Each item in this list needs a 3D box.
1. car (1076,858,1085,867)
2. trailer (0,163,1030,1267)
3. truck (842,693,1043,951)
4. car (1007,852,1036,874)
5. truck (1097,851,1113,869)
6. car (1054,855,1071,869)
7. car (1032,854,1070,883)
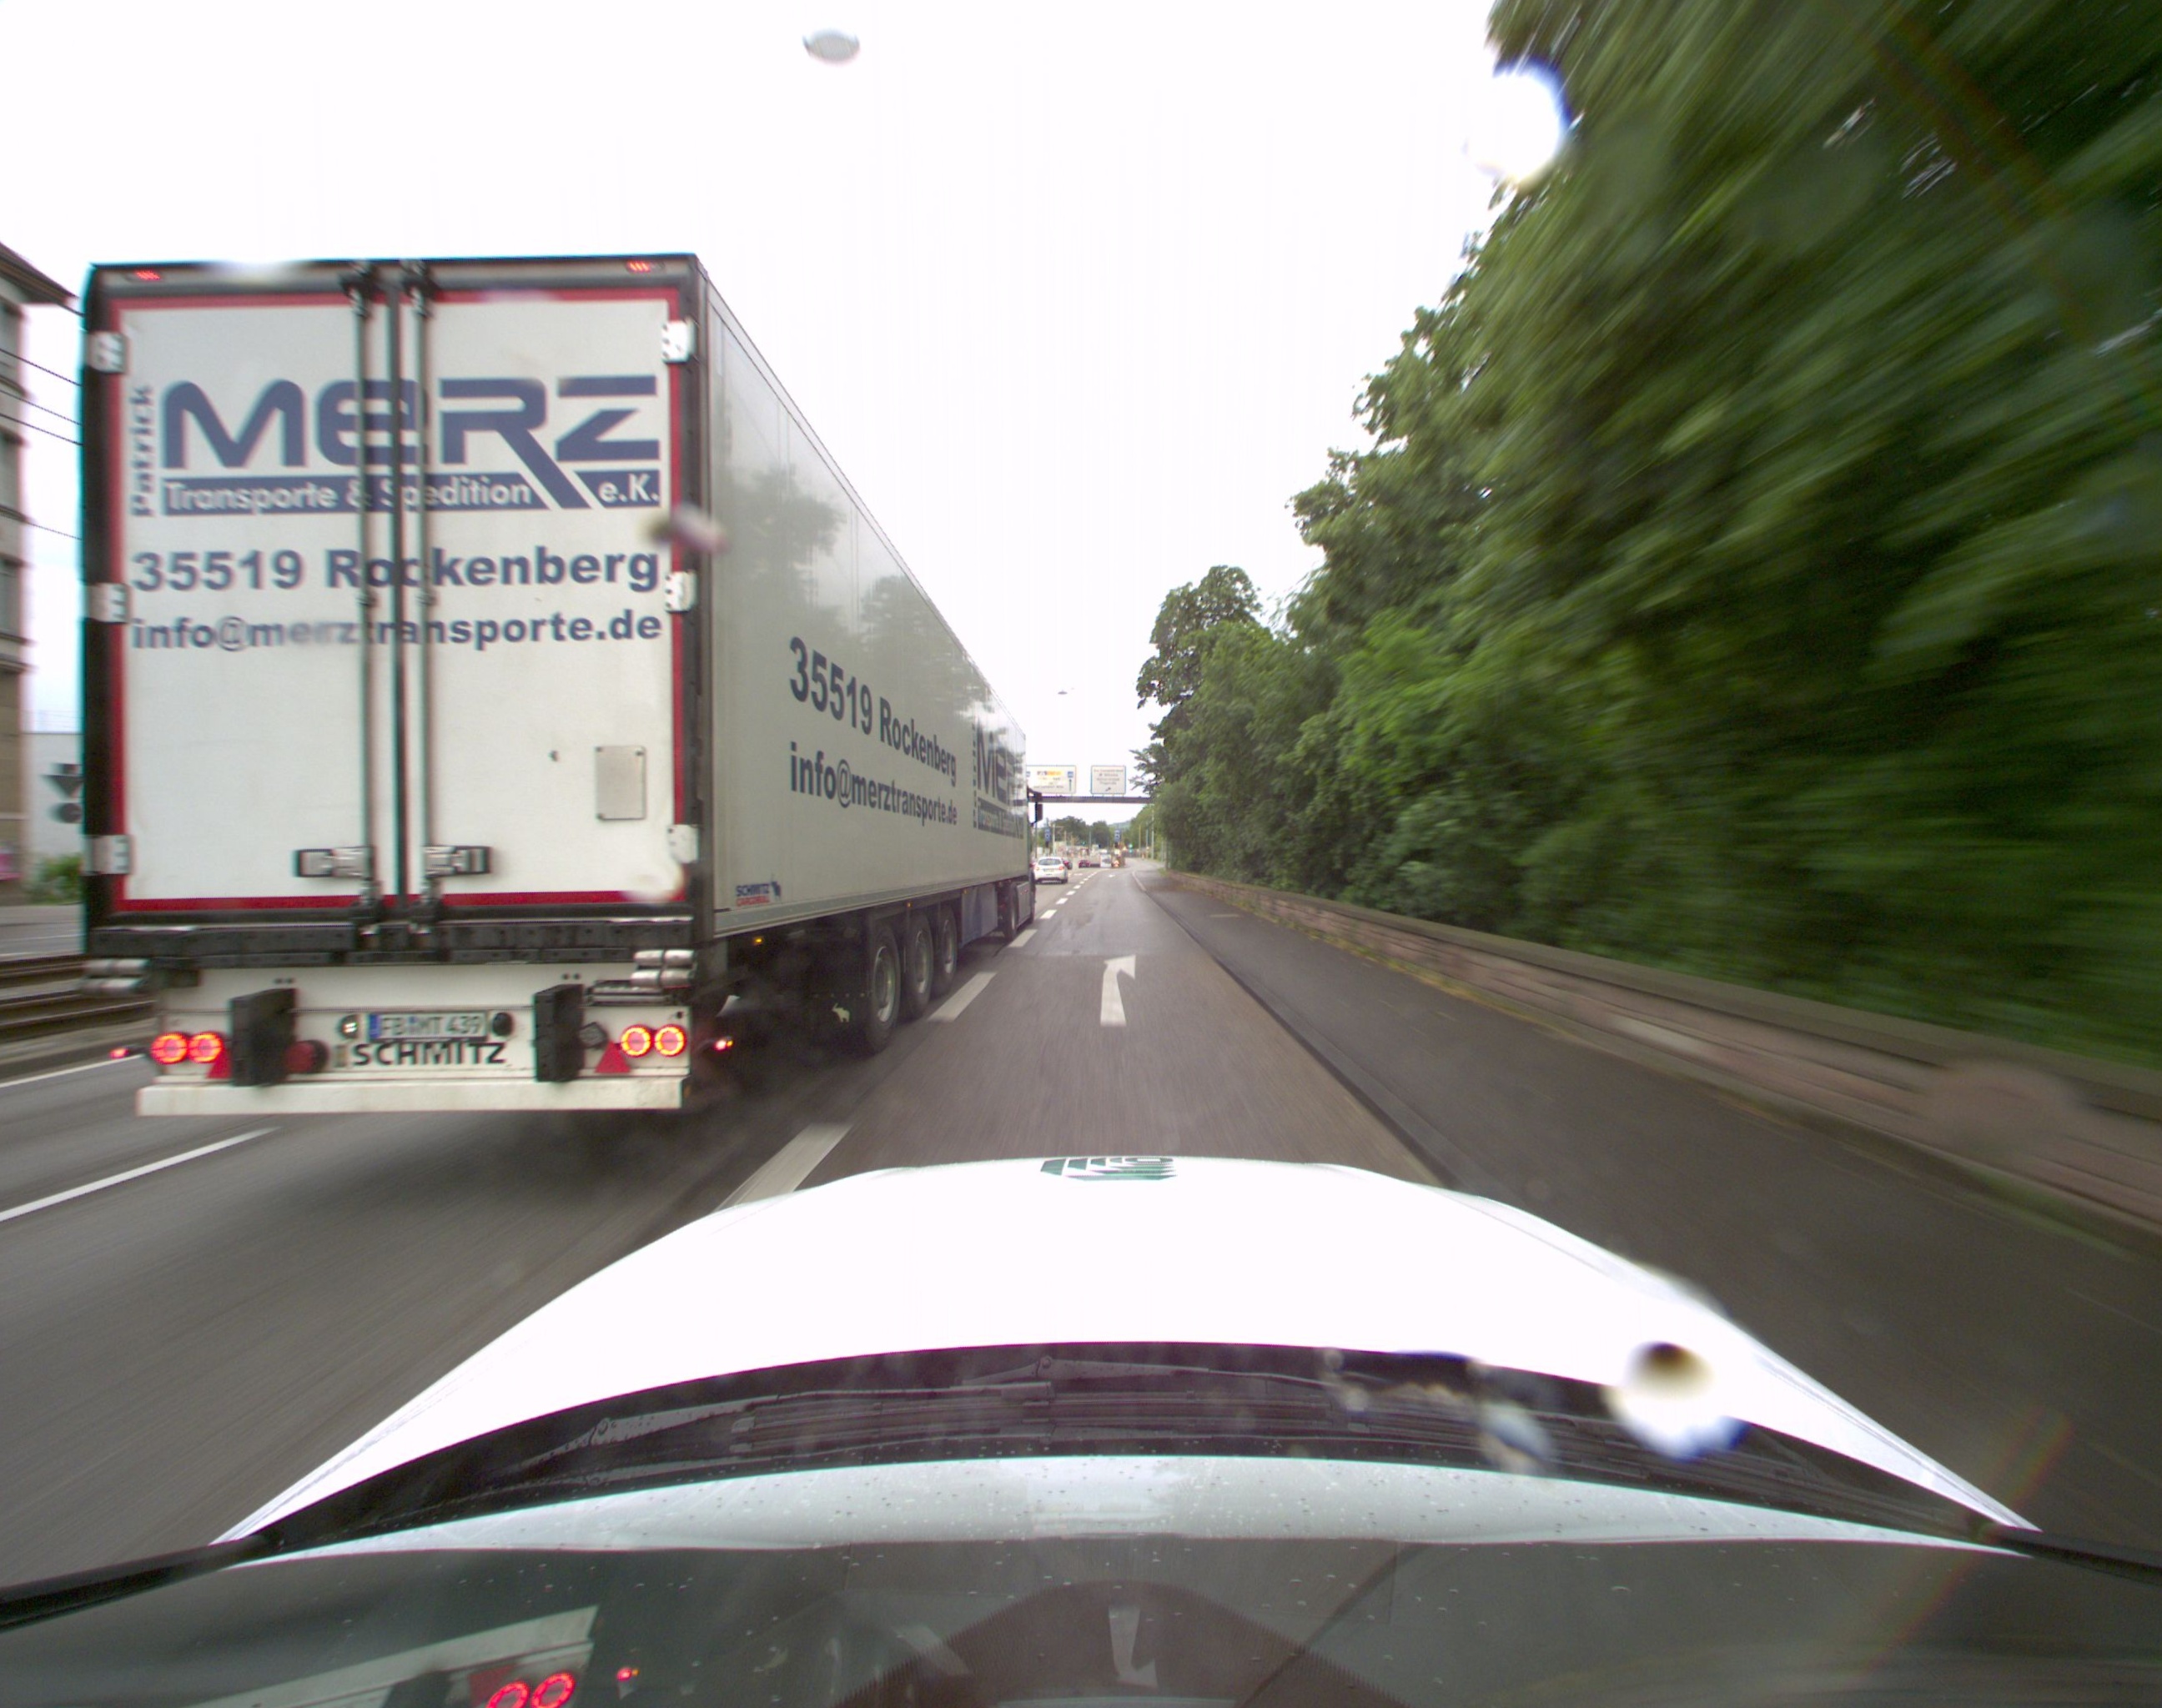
[{"bbox_3d":[-0.047,1.389,131.898,1.421,1.354,2.961,0,0,2],"label":"car"},{"bbox_3d":[-2.682,-0.551,9.782,2.752,4.252,13.189,-1,0,2],"label":"trailer"},{"bbox_3d":[-2.453,-0.538,16.667,2.746,4.205,6.309,-1,0,2],"label":"truck"},{"bbox_3d":[-4.297,0.654,59.617,1.675,1.446,4.002,-1,2,2],"label":"car"},{"bbox_3d":[5.636,1.422,187.169,3.505,4.040,8.077,-1,-1,2],"label":"truck"},{"bbox_3d":[-2.002,0.866,89.016,1.684,1.508,3.769,-1,-1,2],"label":"car"},{"bbox_3d":[-1.601,0.778,44.974,1.803,1.423,4.002,-1,2,2],"label":"car"}]
